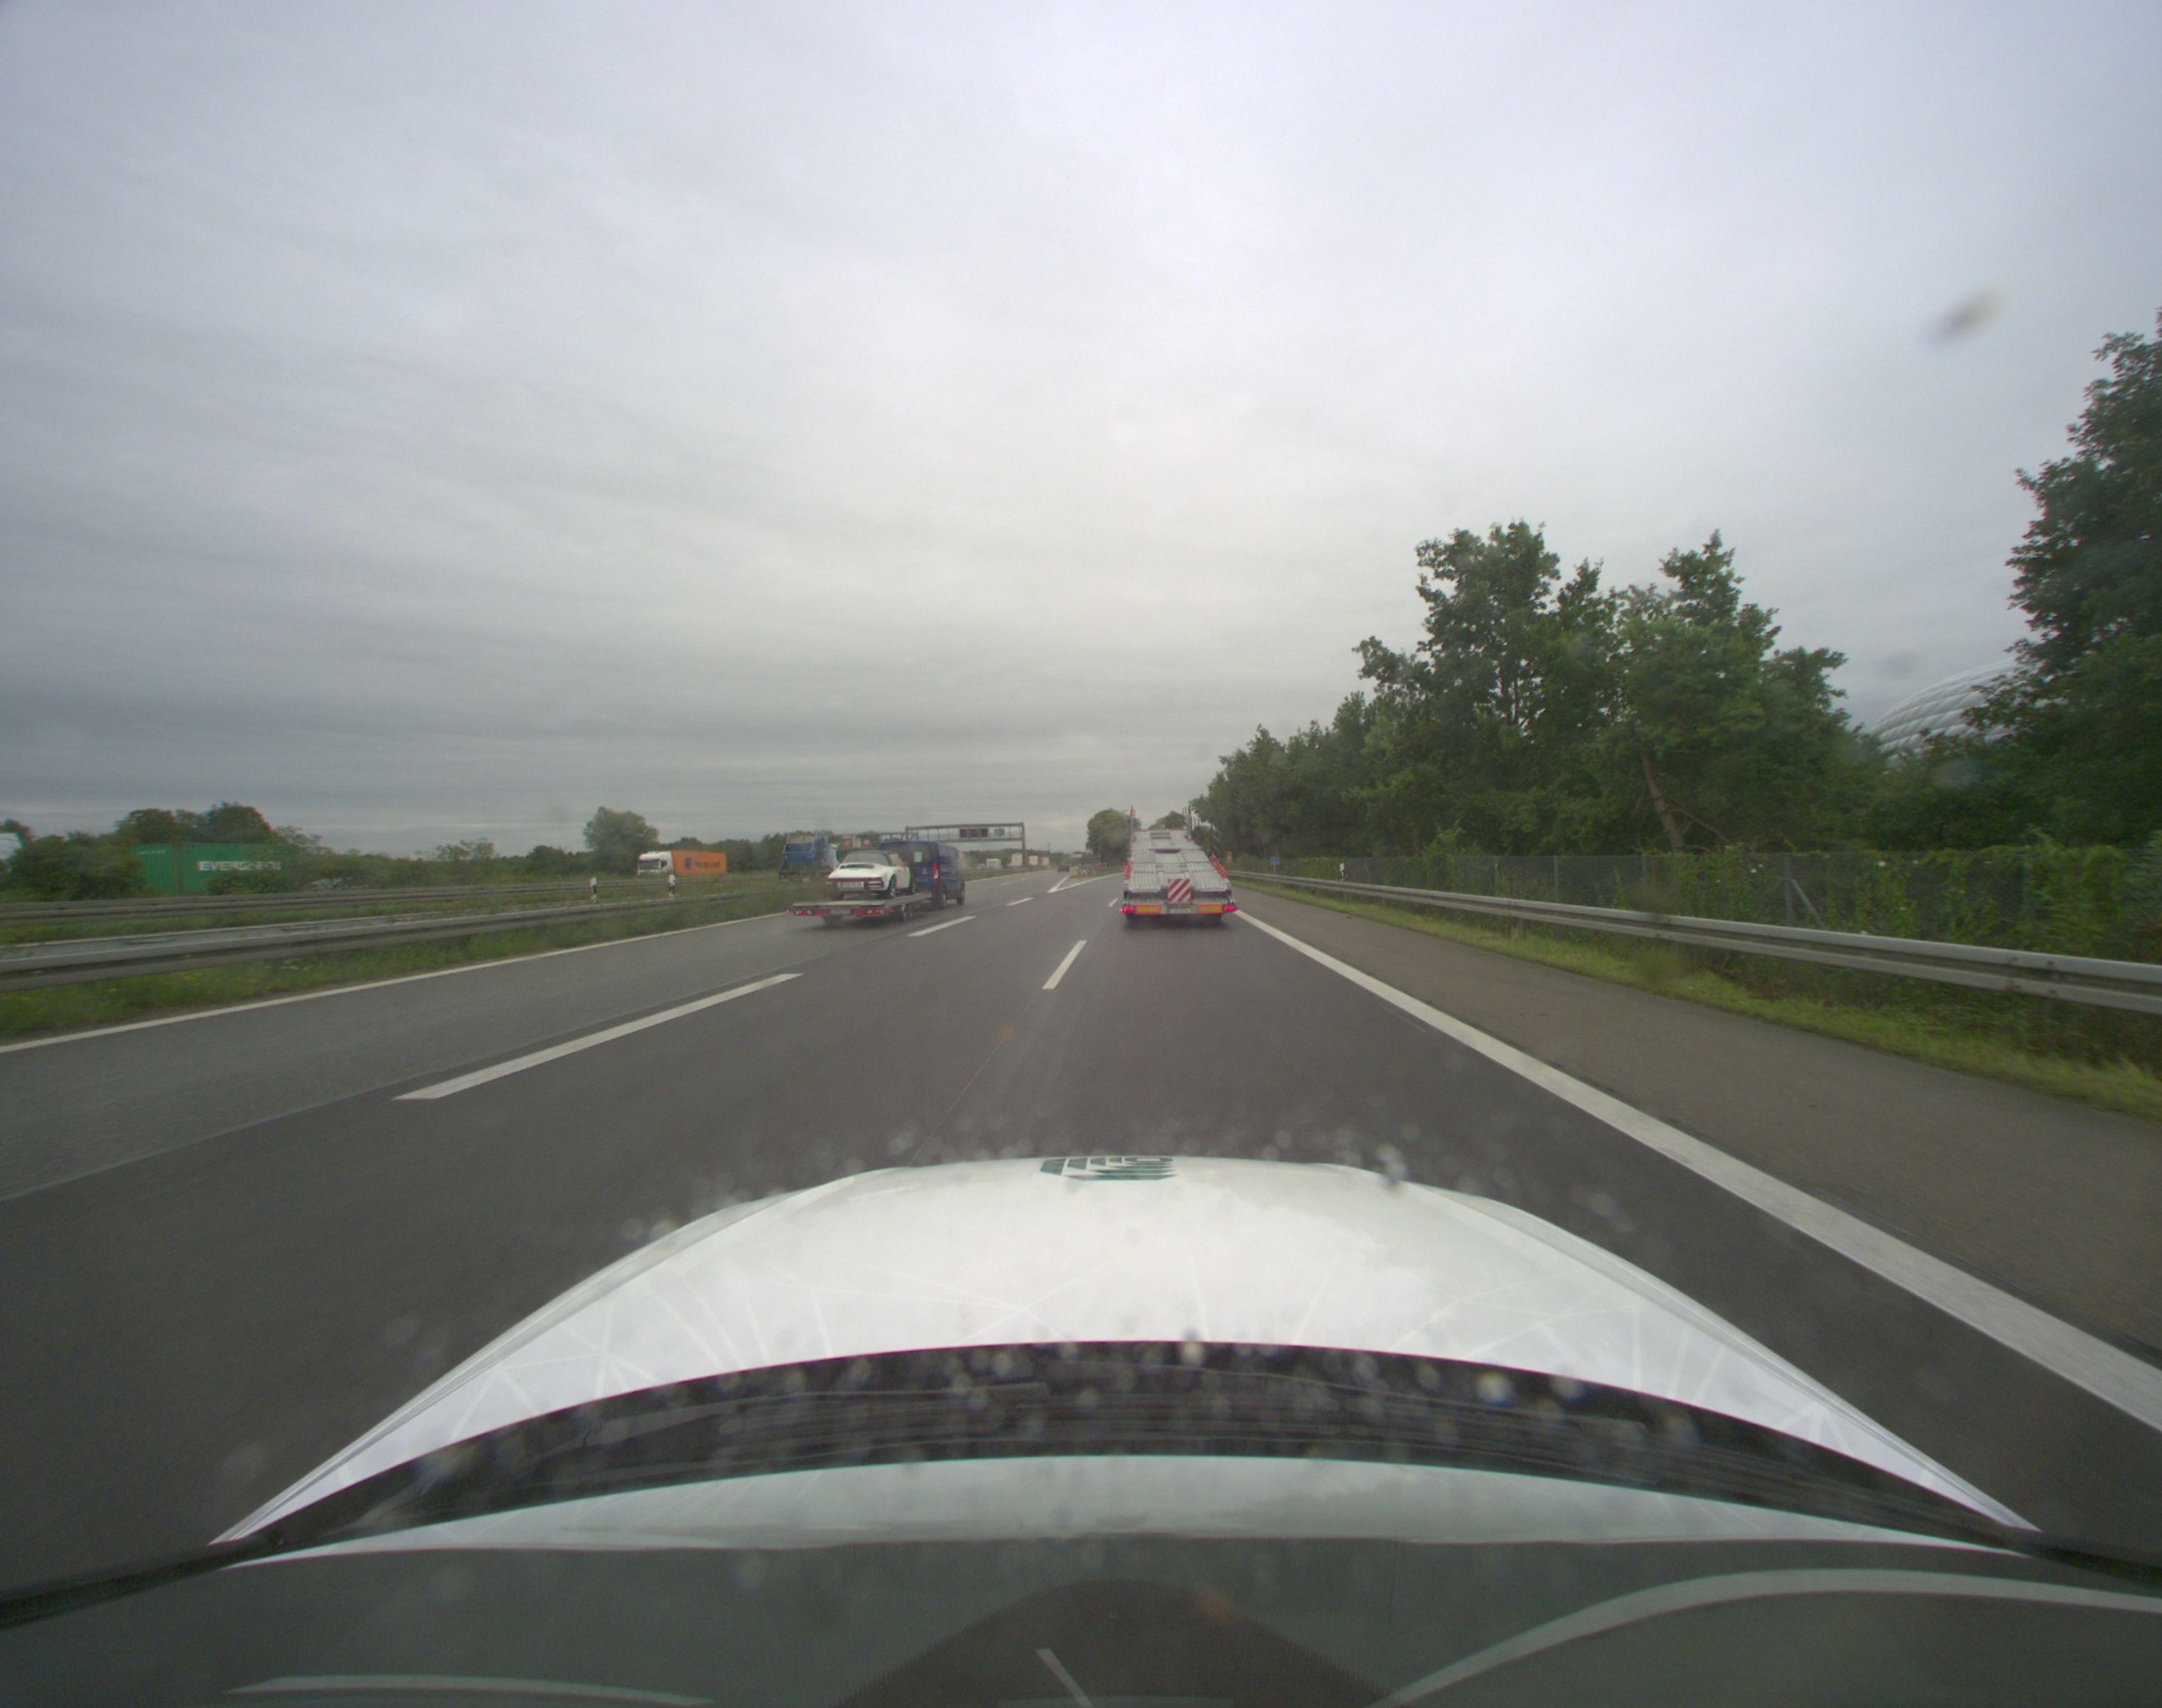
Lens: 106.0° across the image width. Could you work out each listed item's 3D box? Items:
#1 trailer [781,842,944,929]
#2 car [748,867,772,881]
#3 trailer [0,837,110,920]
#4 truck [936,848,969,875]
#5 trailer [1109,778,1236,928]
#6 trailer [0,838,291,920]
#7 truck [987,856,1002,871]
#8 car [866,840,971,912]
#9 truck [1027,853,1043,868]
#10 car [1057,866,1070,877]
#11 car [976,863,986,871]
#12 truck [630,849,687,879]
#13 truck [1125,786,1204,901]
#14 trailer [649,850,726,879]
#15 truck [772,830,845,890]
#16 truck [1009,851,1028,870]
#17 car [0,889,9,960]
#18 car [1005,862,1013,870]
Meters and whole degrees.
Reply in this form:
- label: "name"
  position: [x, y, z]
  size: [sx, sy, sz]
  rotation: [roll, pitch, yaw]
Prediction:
- label: "trailer"
  position: [-5.631, 0.759, 22.285]
  size: [2.476, 1.994, 7.063]
  rotation: [0, -1, 1]
- label: "car"
  position: [-48.543, 3.036, 123.368]
  size: [2.016, 1.908, 3.999]
  rotation: [-1, 0, 0]
- label: "trailer"
  position: [-45.571, 1.019, 33.330]
  size: [2.950, 3.403, 7.269]
  rotation: [-1, 0, -1]
- label: "truck"
  position: [-17.002, 0.976, 108.317]
  size: [2.847, 3.365, 8.632]
  rotation: [-1, -1, 1]
- label: "trailer"
  position: [2.465, 0.015, 23.214]
  size: [2.764, 3.285, 10.421]
  rotation: [-1, 0, 5]
- label: "trailer"
  position: [-45.661, 1.107, 39.644]
  size: [2.950, 3.403, 11.799]
  rotation: [-1, 0, -1]
- label: "truck"
  position: [-16.046, 1.695, 151.150]
  size: [2.235, 2.704, 5.280]
  rotation: [0, 0, 1]
- label: "car"
  position: [-5.566, 0.717, 28.912]
  size: [2.364, 2.266, 6.256]
  rotation: [0, -1, 1]
- label: "truck"
  position: [-13.782, 1.923, 243.858]
  size: [3.720, 4.417, 11.898]
  rotation: [0, 0, 1]
- label: "car"
  position: [-2.807, 2.838, 132.087]
  size: [1.954, 1.637, 5.625]
  rotation: [0, -1, 1]
- label: "car"
  position: [-20.138, 2.661, 164.569]
  size: [1.678, 1.530, 3.997]
  rotation: [0, -1, -1]
- label: "truck"
  position: [-45.042, 1.109, 87.022]
  size: [2.676, 3.074, 6.455]
  rotation: [0, -1, 1]
- label: "truck"
  position: [3.381, -0.363, 32.967]
  size: [2.725, 3.968, 9.143]
  rotation: [1, 0, 6]
- label: "trailer"
  position: [-44.976, 1.226, 93.696]
  size: [2.676, 3.074, 12.567]
  rotation: [0, -1, 1]
- label: "truck"
  position: [-18.350, 0.430, 55.405]
  size: [2.630, 3.812, 7.339]
  rotation: [0, -1, -1]
- label: "truck"
  position: [-14.997, 1.603, 196.381]
  size: [3.720, 4.417, 10.196]
  rotation: [0, 0, 1]
- label: "car"
  position: [-22.173, 1.354, 13.762]
  size: [1.798, 1.391, 4.773]
  rotation: [0, -1, -1]
- label: "car"
  position: [-18.801, 3.062, 213.133]
  size: [1.724, 2.014, 4.000]
  rotation: [0, -1, 1]
